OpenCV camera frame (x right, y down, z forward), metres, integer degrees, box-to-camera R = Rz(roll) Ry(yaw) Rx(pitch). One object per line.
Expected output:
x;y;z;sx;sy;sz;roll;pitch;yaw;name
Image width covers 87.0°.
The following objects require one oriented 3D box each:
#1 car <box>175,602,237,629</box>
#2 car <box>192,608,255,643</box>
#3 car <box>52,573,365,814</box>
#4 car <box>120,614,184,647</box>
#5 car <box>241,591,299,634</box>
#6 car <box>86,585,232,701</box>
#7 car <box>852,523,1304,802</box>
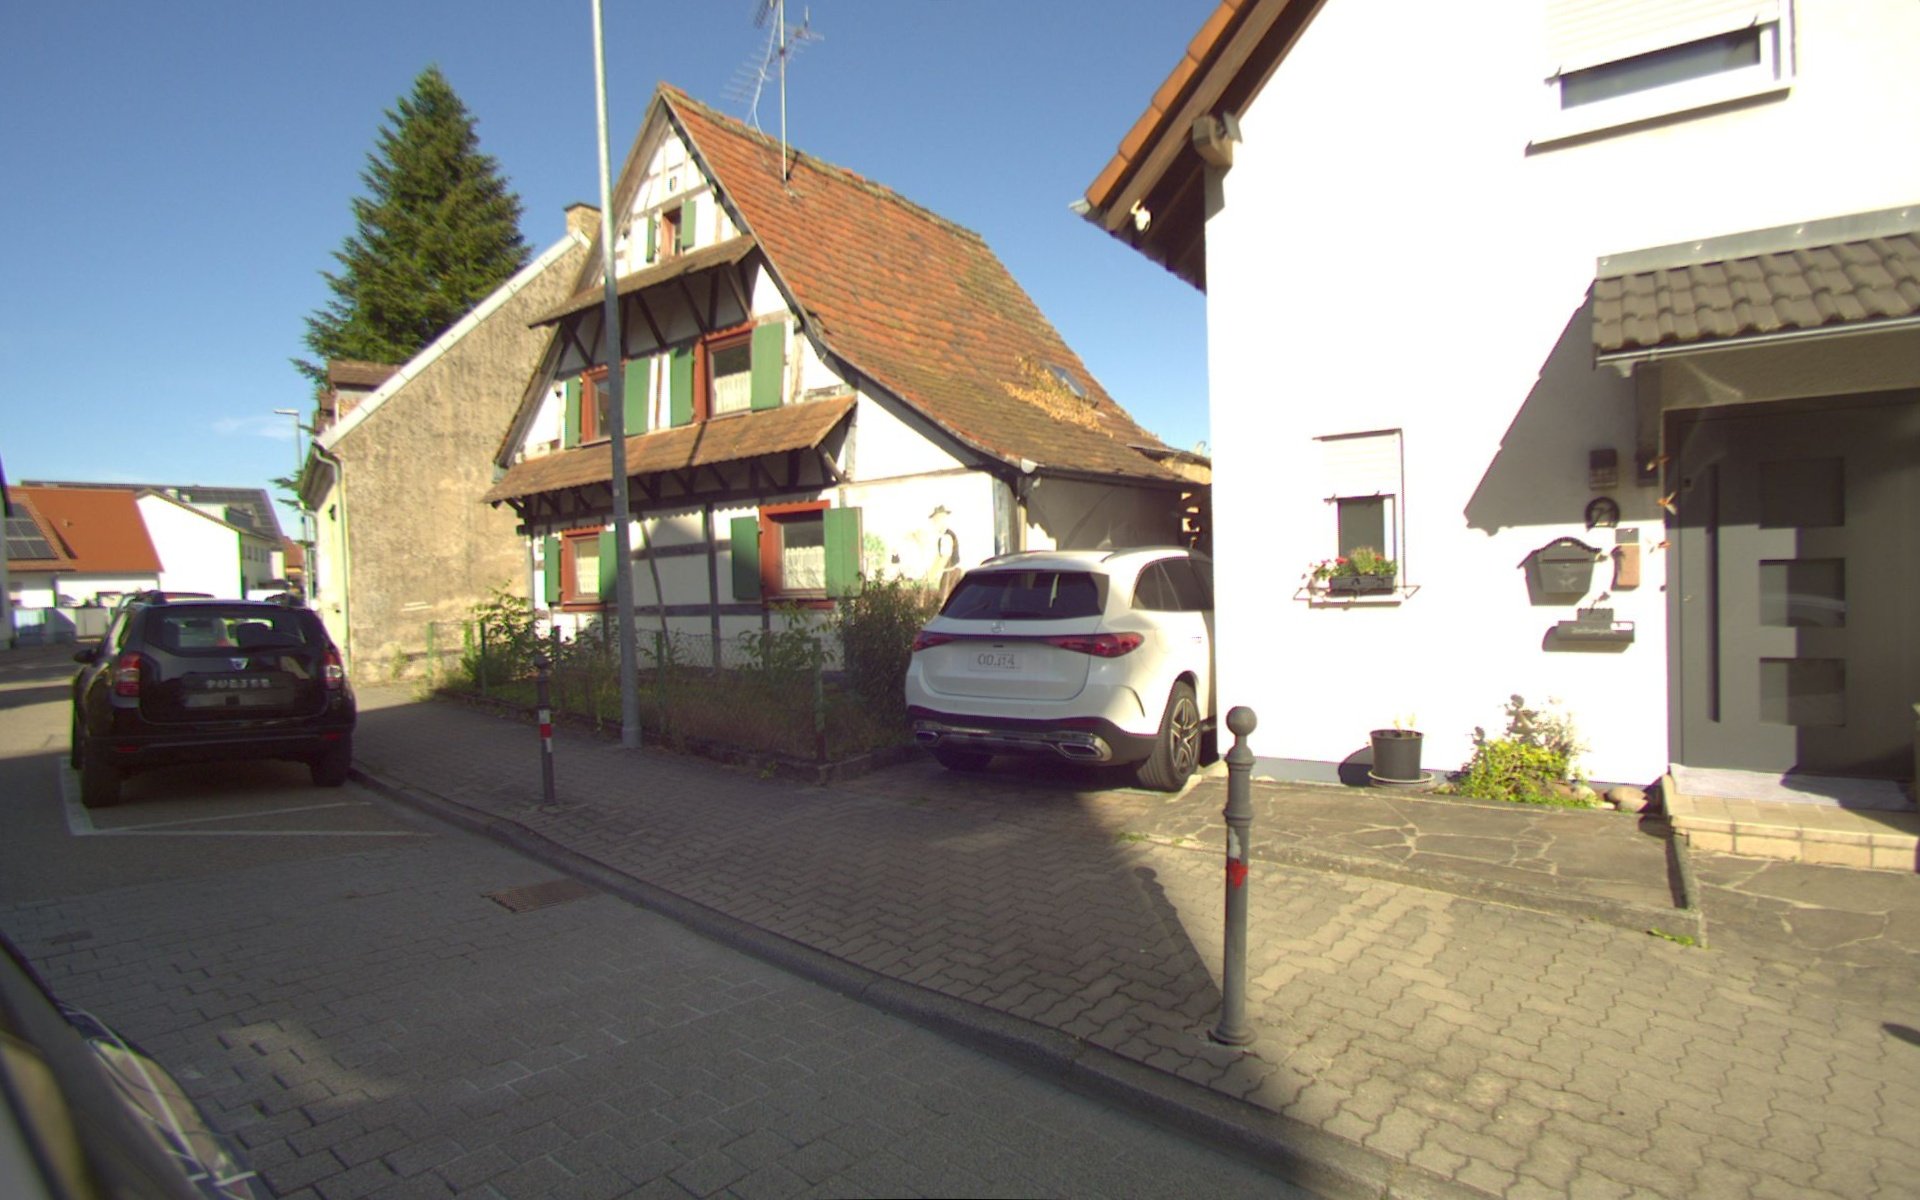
-61.609;1.249;82.747;3.933;2.029;1.846;-2;0;-33;car
-36.386;1.225;50.093;1.862;1.602;4.013;-1;0;-27;car
-7.063;0.691;9.309;1.810;1.684;4.357;1;-2;-43;car
-40.319;1.491;50.576;1.778;1.488;4.357;-2;1;-30;car
-38.593;0.678;56.721;2.026;2.263;4.875;-1;0;-27;car
-14.188;0.730;18.068;1.808;1.803;4.362;1;-2;-37;car
1.191;0.278;8.004;1.994;1.600;3.957;-2;2;32;car
